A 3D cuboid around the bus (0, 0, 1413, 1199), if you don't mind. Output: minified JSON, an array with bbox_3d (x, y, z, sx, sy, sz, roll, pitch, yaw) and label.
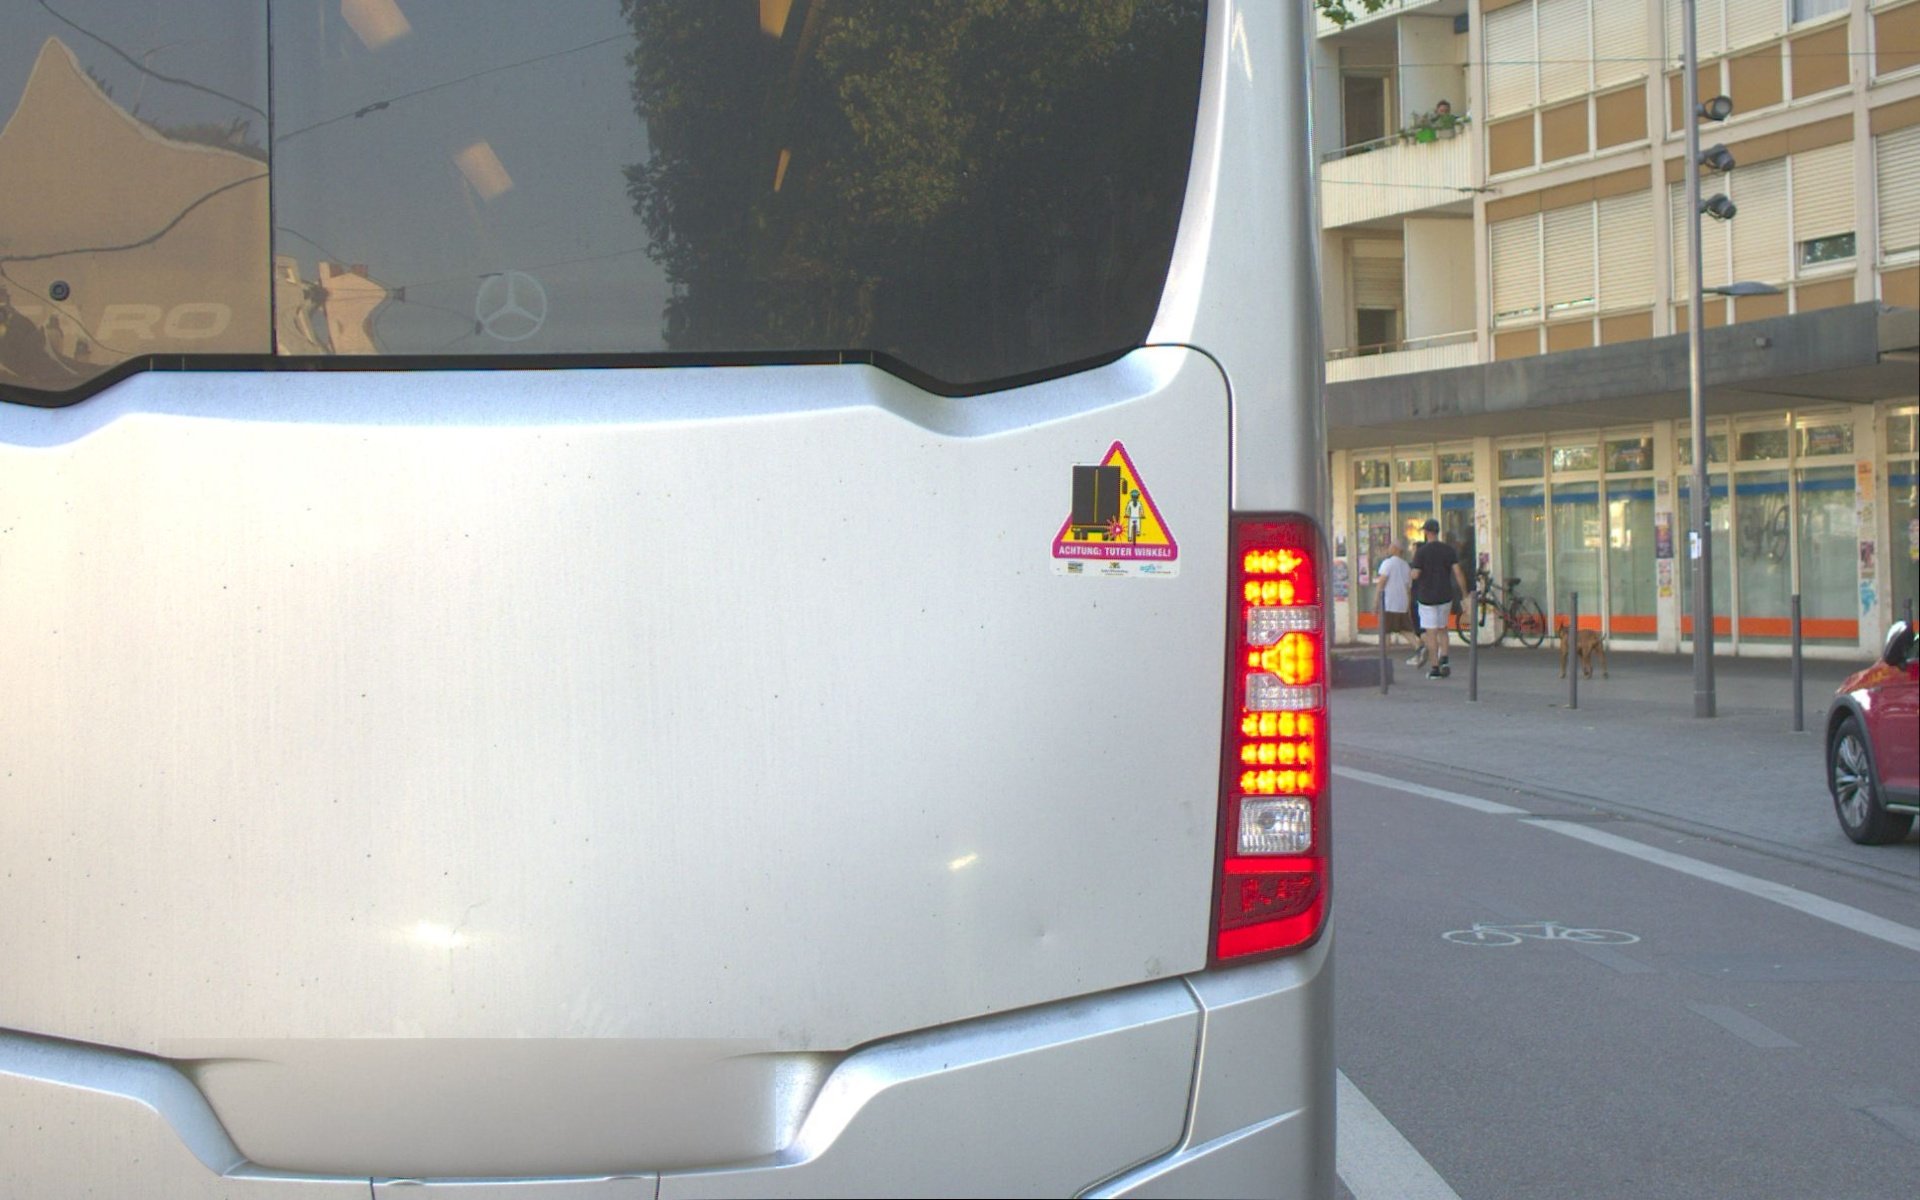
[{"bbox_3d":[-0.735,-0.129,9.910,2.630,3.017,9.998,0,1,-1],"label":"bus"}]

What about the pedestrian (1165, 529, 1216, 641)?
[{"bbox_3d":[3.408,-0.224,50.918,0.535,1.643,0.616,-1,1,-17],"label":"pedestrian"}]

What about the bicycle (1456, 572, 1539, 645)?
[{"bbox_3d":[7.142,0.108,45.731,0.412,0.941,1.441,-1,1,-21],"label":"bicycle"}]

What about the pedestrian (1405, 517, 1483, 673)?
[{"bbox_3d":[5.366,-0.059,38.130,0.645,1.711,0.560,-1,1,-16],"label":"pedestrian"}]

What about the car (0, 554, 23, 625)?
[{"bbox_3d":[-25.916,-0.291,88.313,1.994,1.785,3.998,0,0,-41],"label":"car"}]

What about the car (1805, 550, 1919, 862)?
[{"bbox_3d":[5.506,0.492,15.963,1.769,1.477,4.304,-2,1,-4],"label":"car"}]

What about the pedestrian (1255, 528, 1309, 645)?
[{"bbox_3d":[4.557,-0.195,48.694,0.535,1.643,0.616,-1,1,-17],"label":"pedestrian"}]

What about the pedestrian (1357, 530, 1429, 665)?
[{"bbox_3d":[5.123,-0.029,40.707,0.645,1.576,0.560,-1,1,-16],"label":"pedestrian"}]
